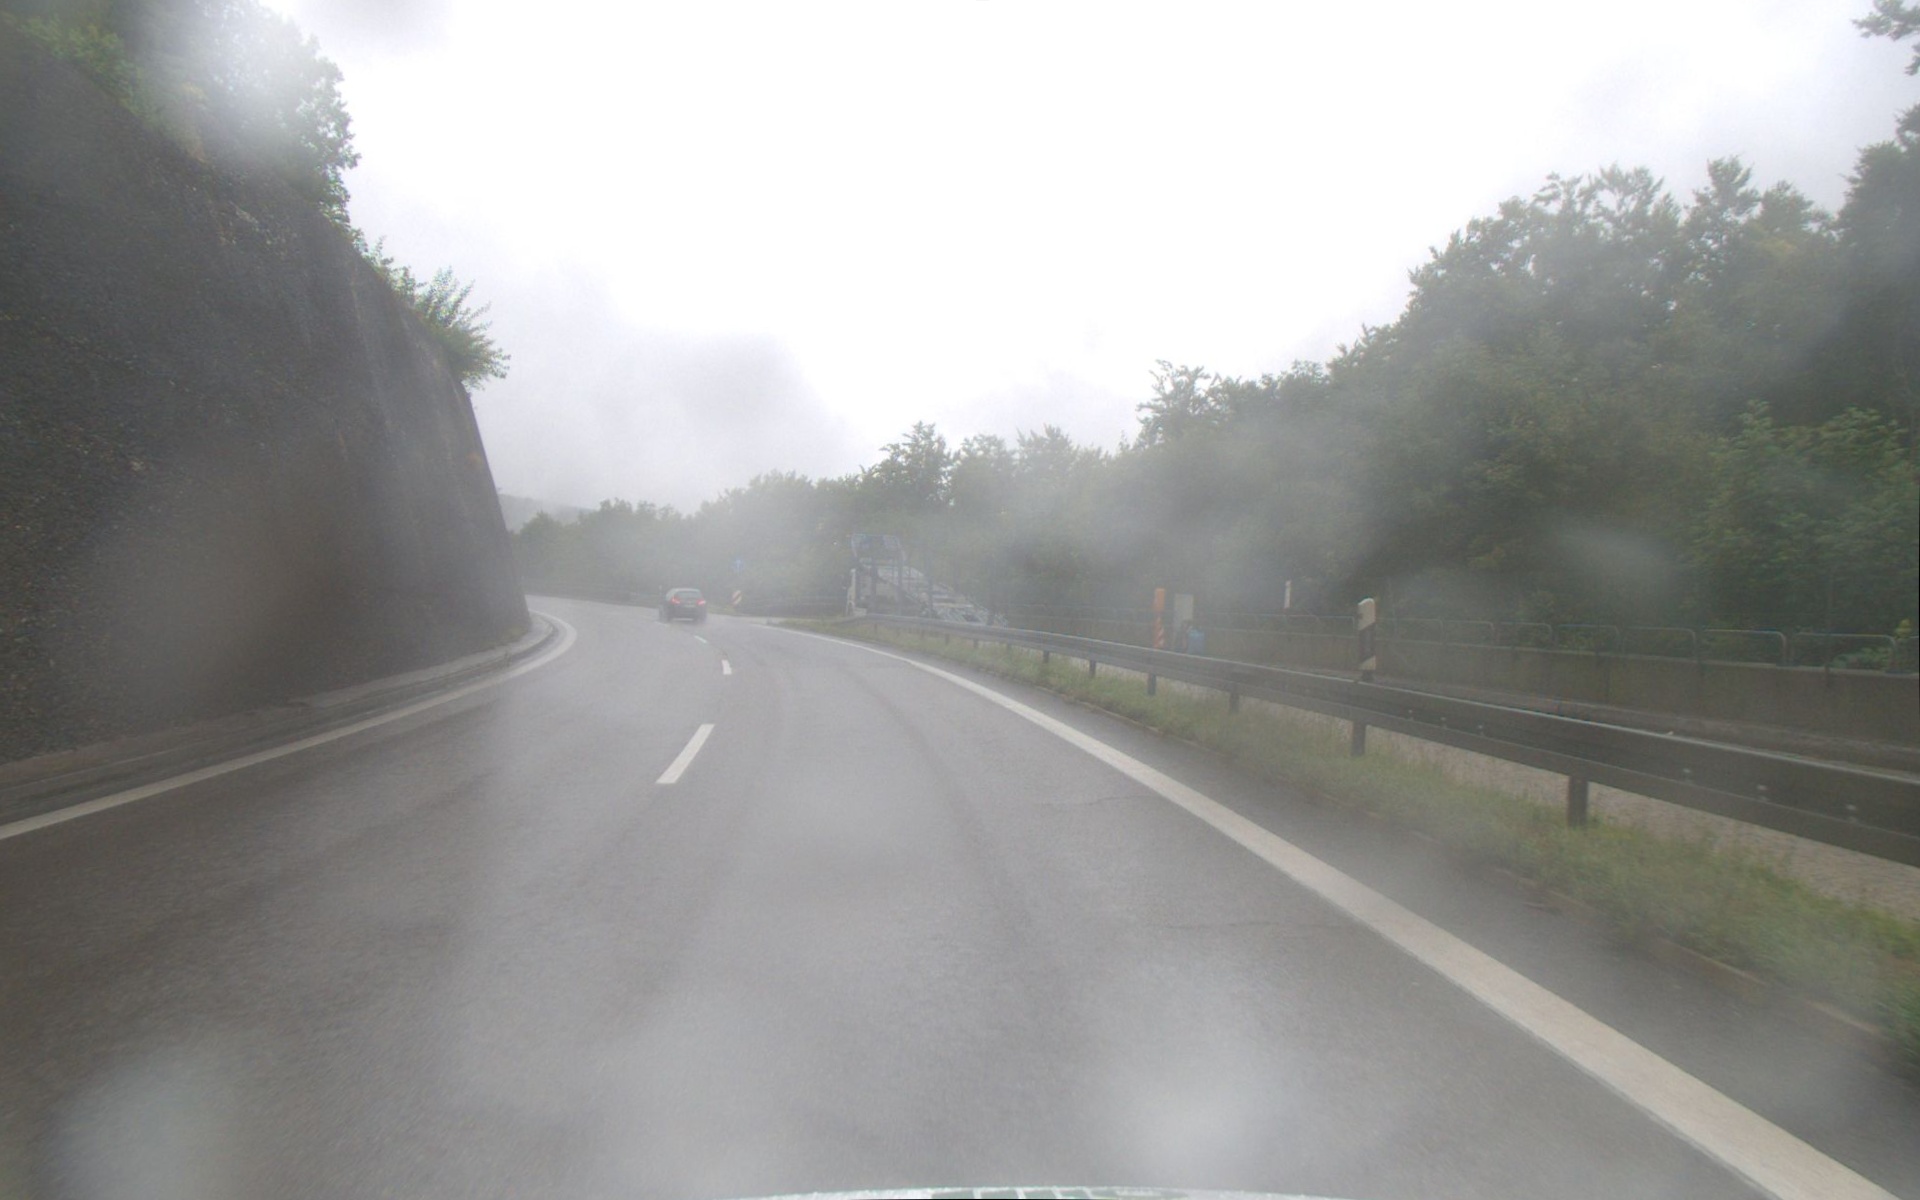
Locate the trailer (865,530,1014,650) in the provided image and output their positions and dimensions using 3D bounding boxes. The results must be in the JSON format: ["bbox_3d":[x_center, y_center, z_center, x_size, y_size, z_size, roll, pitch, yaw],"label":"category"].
[{"bbox_3d":[-1.138,-0.381,67.438,2.843,4.319,14.644,1,0,-14],"label":"trailer"}]

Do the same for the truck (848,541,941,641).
[{"bbox_3d":[-3.064,-0.408,75.319,2.847,4.319,6.856,1,0,-14],"label":"truck"}]

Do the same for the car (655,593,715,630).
[{"bbox_3d":[-12.485,0.516,74.835,1.876,1.525,3.975,3,0,-21],"label":"car"}]
